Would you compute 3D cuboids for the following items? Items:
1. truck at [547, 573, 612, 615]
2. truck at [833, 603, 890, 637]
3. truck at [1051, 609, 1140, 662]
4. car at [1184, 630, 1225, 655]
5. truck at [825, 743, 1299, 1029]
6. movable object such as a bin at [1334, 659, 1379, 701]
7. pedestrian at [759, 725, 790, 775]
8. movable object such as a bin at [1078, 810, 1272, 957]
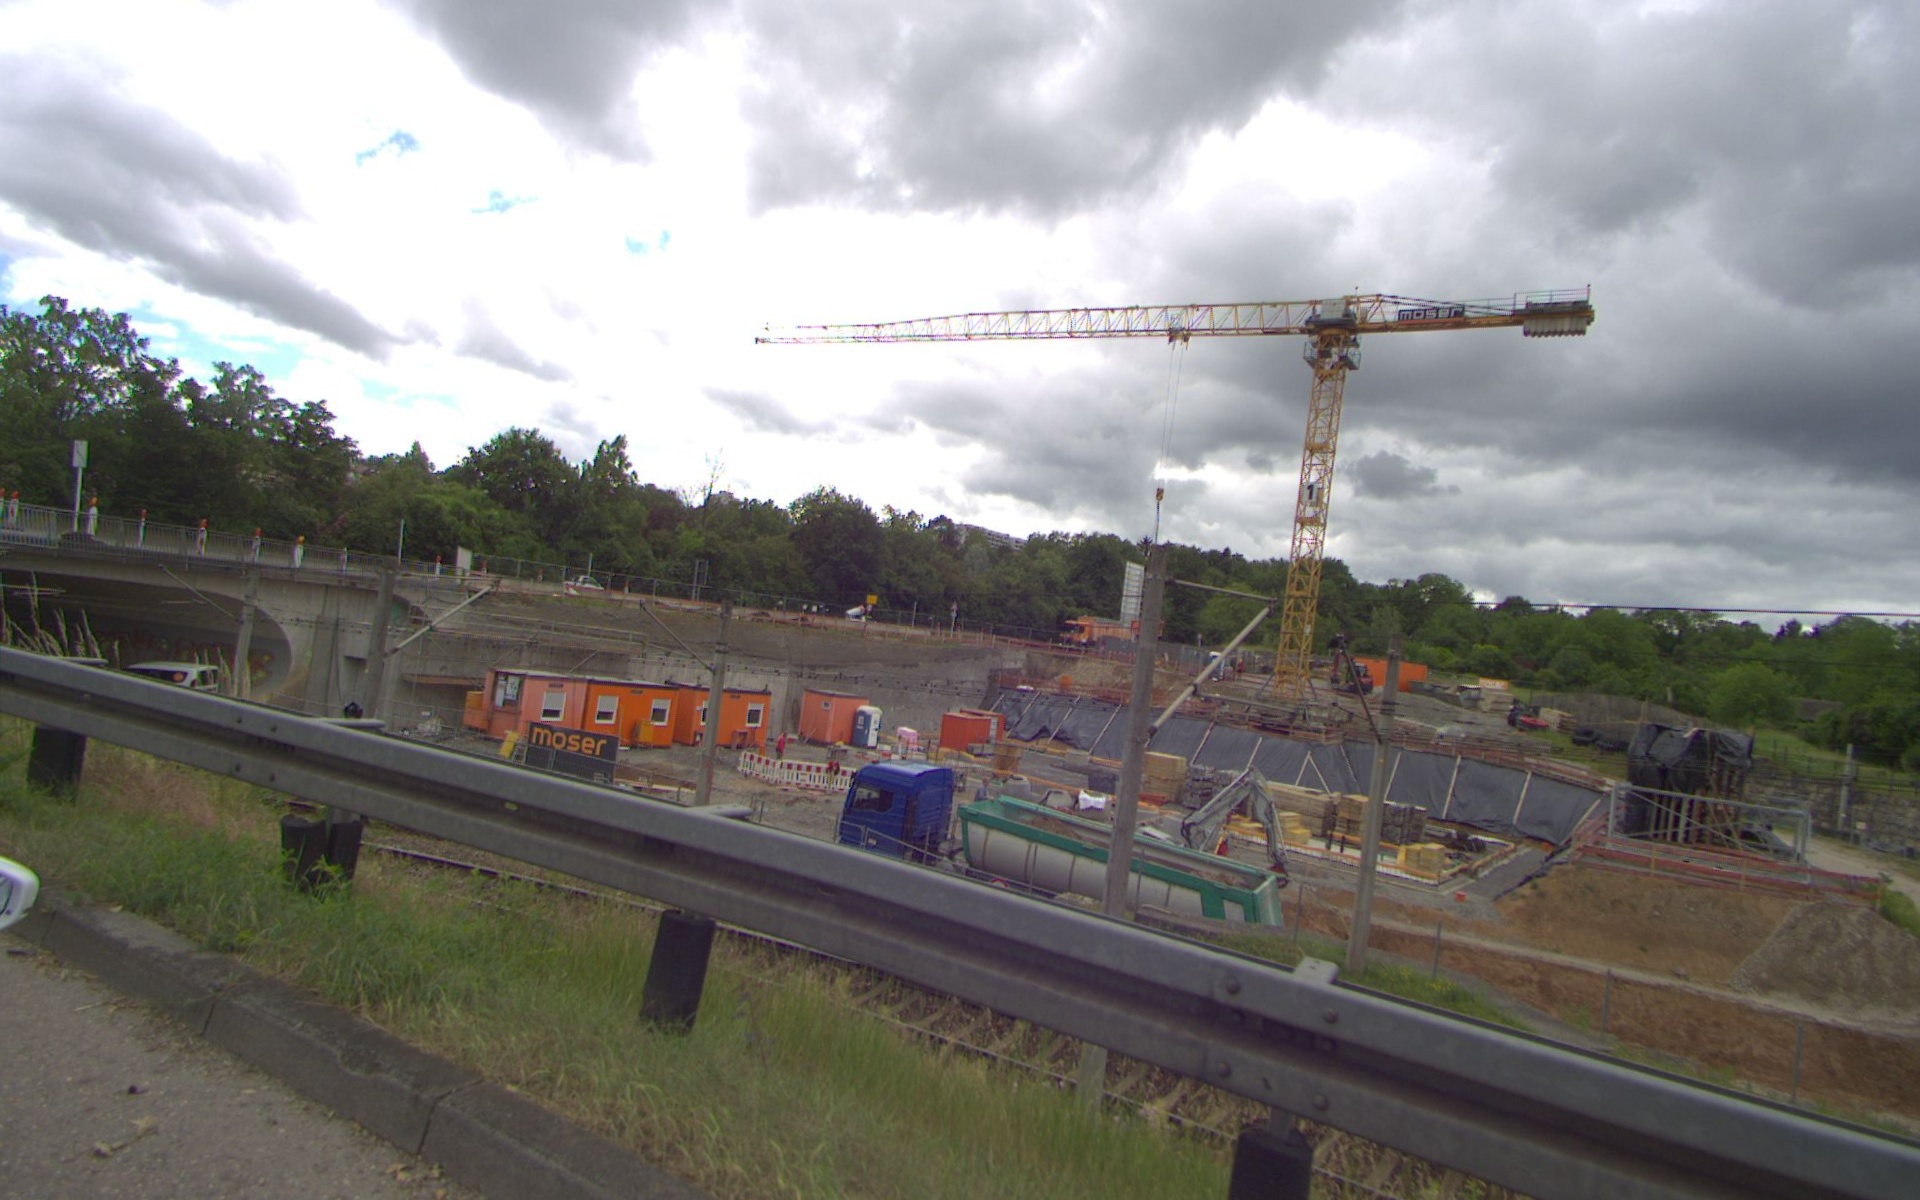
[{"bbox_3d":[-24.079,-0.350,63.804,1.712,2.034,3.226,6,-5,33],"label":"truck"},{"bbox_3d":[-7.835,1.602,80.615,1.975,2.034,3.984,5,-6,45],"label":"truck"},{"bbox_3d":[14.086,3.747,104.021,9.728,4.269,3.085,9,-2,-41],"label":"truck"},{"bbox_3d":[25.970,4.511,106.828,3.971,2.036,1.980,9,-3,-39],"label":"car"},{"bbox_3d":[2.276,6.767,25.769,11.418,3.938,2.846,8,-1,28],"label":"truck"},{"bbox_3d":[33.326,6.736,84.518,1.829,3.112,2.769,8,-3,-41],"label":"movable object such as a bin"},{"bbox_3d":[-8.104,6.568,44.009,0.692,2.033,0.804,6,-6,29],"label":"pedestrian"},{"bbox_3d":[6.184,8.017,29.137,3.032,2.782,4.232,10,-1,-45],"label":"movable object such as a bin"}]
